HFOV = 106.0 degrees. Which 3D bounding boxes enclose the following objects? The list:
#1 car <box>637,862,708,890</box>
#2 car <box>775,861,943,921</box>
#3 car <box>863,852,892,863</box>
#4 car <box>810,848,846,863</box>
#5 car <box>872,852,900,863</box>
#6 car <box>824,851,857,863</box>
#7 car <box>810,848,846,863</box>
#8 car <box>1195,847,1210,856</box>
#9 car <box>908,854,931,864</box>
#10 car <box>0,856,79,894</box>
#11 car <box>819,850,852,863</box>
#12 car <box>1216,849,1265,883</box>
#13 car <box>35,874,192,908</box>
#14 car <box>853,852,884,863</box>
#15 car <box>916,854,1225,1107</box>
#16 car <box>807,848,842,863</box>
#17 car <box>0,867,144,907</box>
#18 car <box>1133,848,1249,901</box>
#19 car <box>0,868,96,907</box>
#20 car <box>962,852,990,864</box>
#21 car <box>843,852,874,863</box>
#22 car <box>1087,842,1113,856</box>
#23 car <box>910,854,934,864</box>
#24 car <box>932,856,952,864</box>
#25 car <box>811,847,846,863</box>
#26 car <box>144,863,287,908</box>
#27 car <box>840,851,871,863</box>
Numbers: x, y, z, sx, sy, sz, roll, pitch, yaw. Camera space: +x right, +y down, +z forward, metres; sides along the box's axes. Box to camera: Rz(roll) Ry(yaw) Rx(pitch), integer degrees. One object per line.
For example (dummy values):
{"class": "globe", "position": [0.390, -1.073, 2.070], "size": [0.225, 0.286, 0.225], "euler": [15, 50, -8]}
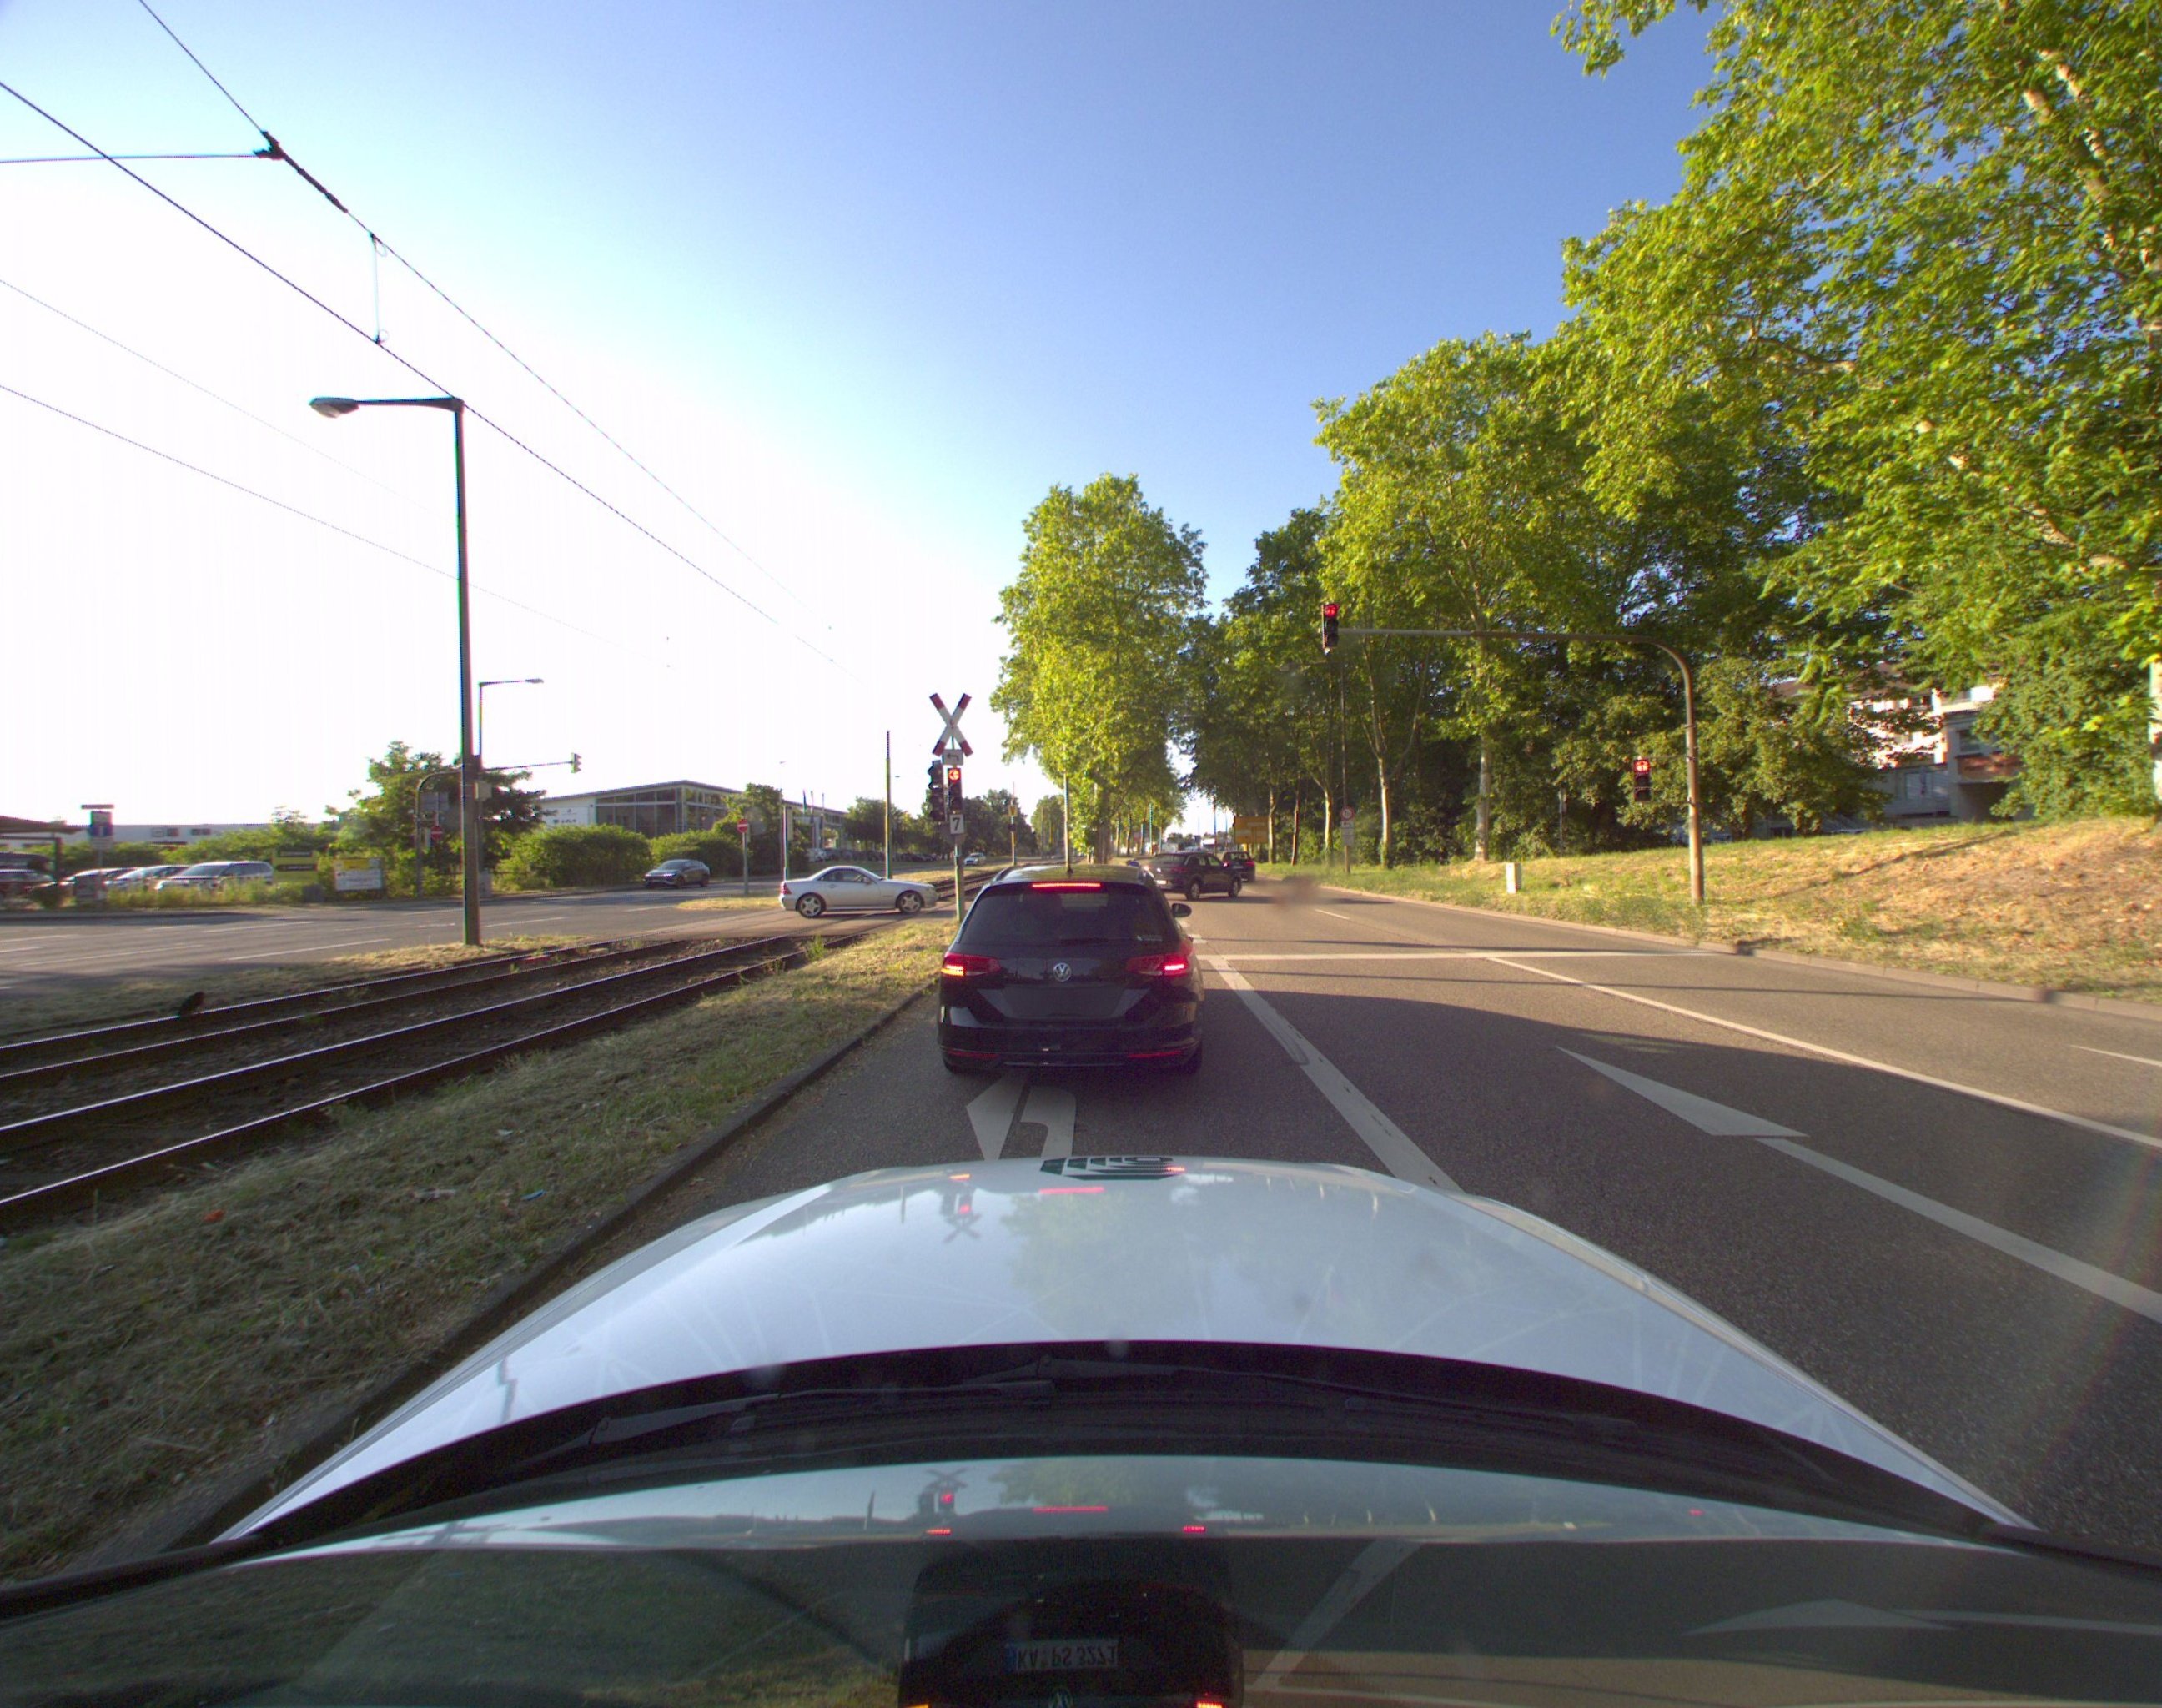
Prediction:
{"class": "car", "position": [-23.745, 1.243, 47.495], "size": [1.854, 1.481, 4.176], "euler": [0, 0, 3]}
{"class": "car", "position": [-5.645, 0.902, 20.950], "size": [3.976, 1.294, 1.606], "euler": [-2, 0, -15]}
{"class": "car", "position": [-30.606, 0.558, 122.760], "size": [3.978, 1.621, 1.742], "euler": [-1, 0, -3]}
{"class": "car", "position": [-29.260, 0.157, 94.129], "size": [3.999, 1.704, 1.732], "euler": [-1, 0, -19]}
{"class": "car", "position": [-30.118, 0.602, 125.962], "size": [3.978, 1.621, 1.742], "euler": [-1, 0, -3]}
{"class": "car", "position": [-31.364, 0.357, 106.223], "size": [3.999, 1.556, 1.732], "euler": [-1, 0, -19]}
{"class": "car", "position": [-29.949, 0.175, 96.398], "size": [3.999, 1.704, 1.732], "euler": [-1, 0, -19]}
{"class": "car", "position": [28.980, -0.581, 194.778], "size": [2.075, 2.065, 4.909], "euler": [0, 0, 27]}
{"class": "car", "position": [-29.103, 0.880, 146.854], "size": [3.978, 1.621, 1.742], "euler": [-1, 0, -3]}
{"class": "car", "position": [-60.419, 1.168, 45.919], "size": [1.855, 2.014, 4.773], "euler": [0, 0, 2]}
{"class": "car", "position": [-31.150, 0.313, 103.432], "size": [3.999, 1.556, 1.732], "euler": [-1, 0, -19]}
{"class": "car", "position": [8.157, 0.582, 41.975], "size": [1.864, 1.635, 4.373], "euler": [-1, 0, 3]}
{"class": "car", "position": [-42.469, 1.574, 35.903], "size": [1.855, 1.267, 4.174], "euler": [0, 0, 2]}
{"class": "car", "position": [-31.004, 0.533, 118.840], "size": [3.980, 1.556, 1.741], "euler": [-1, 0, -5]}
{"class": "car", "position": [-0.016, 0.741, 6.538], "size": [1.788, 1.464, 3.584], "euler": [0, 0, 1]}
{"class": "car", "position": [-31.644, 0.142, 100.533], "size": [3.999, 1.816, 1.732], "euler": [-1, 0, -19]}
{"class": "car", "position": [-44.708, 1.415, 35.907], "size": [1.855, 1.583, 4.174], "euler": [0, 0, 2]}
{"class": "car", "position": [3.655, 0.608, 26.443], "size": [1.691, 1.561, 4.192], "euler": [0, 0, 41]}
{"class": "car", "position": [-47.158, 1.464, 36.059], "size": [1.970, 1.583, 4.174], "euler": [0, 0, 2]}
{"class": "car", "position": [-13.099, 0.499, 101.659], "size": [1.847, 1.481, 4.111], "euler": [0, 0, 18]}
{"class": "car", "position": [-31.436, 0.488, 115.328], "size": [3.983, 1.556, 1.739], "euler": [-1, 0, -7]}
{"class": "car", "position": [3.380, -0.915, 145.261], "size": [2.075, 2.461, 5.888], "euler": [0, 0, 29]}
{"class": "car", "position": [-29.255, 0.924, 150.022], "size": [3.978, 1.621, 1.742], "euler": [-1, 0, -3]}
{"class": "car", "position": [-28.810, 1.198, 168.935], "size": [3.977, 1.556, 1.742], "euler": [-1, 0, -2]}
{"class": "car", "position": [-30.601, 0.140, 98.752], "size": [3.999, 1.816, 1.732], "euler": [-1, 0, -19]}
{"class": "car", "position": [-38.521, 1.333, 36.425], "size": [1.855, 1.821, 4.174], "euler": [0, 0, 2]}
{"class": "car", "position": [-31.227, 0.449, 112.621], "size": [3.999, 1.556, 1.732], "euler": [-1, 0, -19]}
